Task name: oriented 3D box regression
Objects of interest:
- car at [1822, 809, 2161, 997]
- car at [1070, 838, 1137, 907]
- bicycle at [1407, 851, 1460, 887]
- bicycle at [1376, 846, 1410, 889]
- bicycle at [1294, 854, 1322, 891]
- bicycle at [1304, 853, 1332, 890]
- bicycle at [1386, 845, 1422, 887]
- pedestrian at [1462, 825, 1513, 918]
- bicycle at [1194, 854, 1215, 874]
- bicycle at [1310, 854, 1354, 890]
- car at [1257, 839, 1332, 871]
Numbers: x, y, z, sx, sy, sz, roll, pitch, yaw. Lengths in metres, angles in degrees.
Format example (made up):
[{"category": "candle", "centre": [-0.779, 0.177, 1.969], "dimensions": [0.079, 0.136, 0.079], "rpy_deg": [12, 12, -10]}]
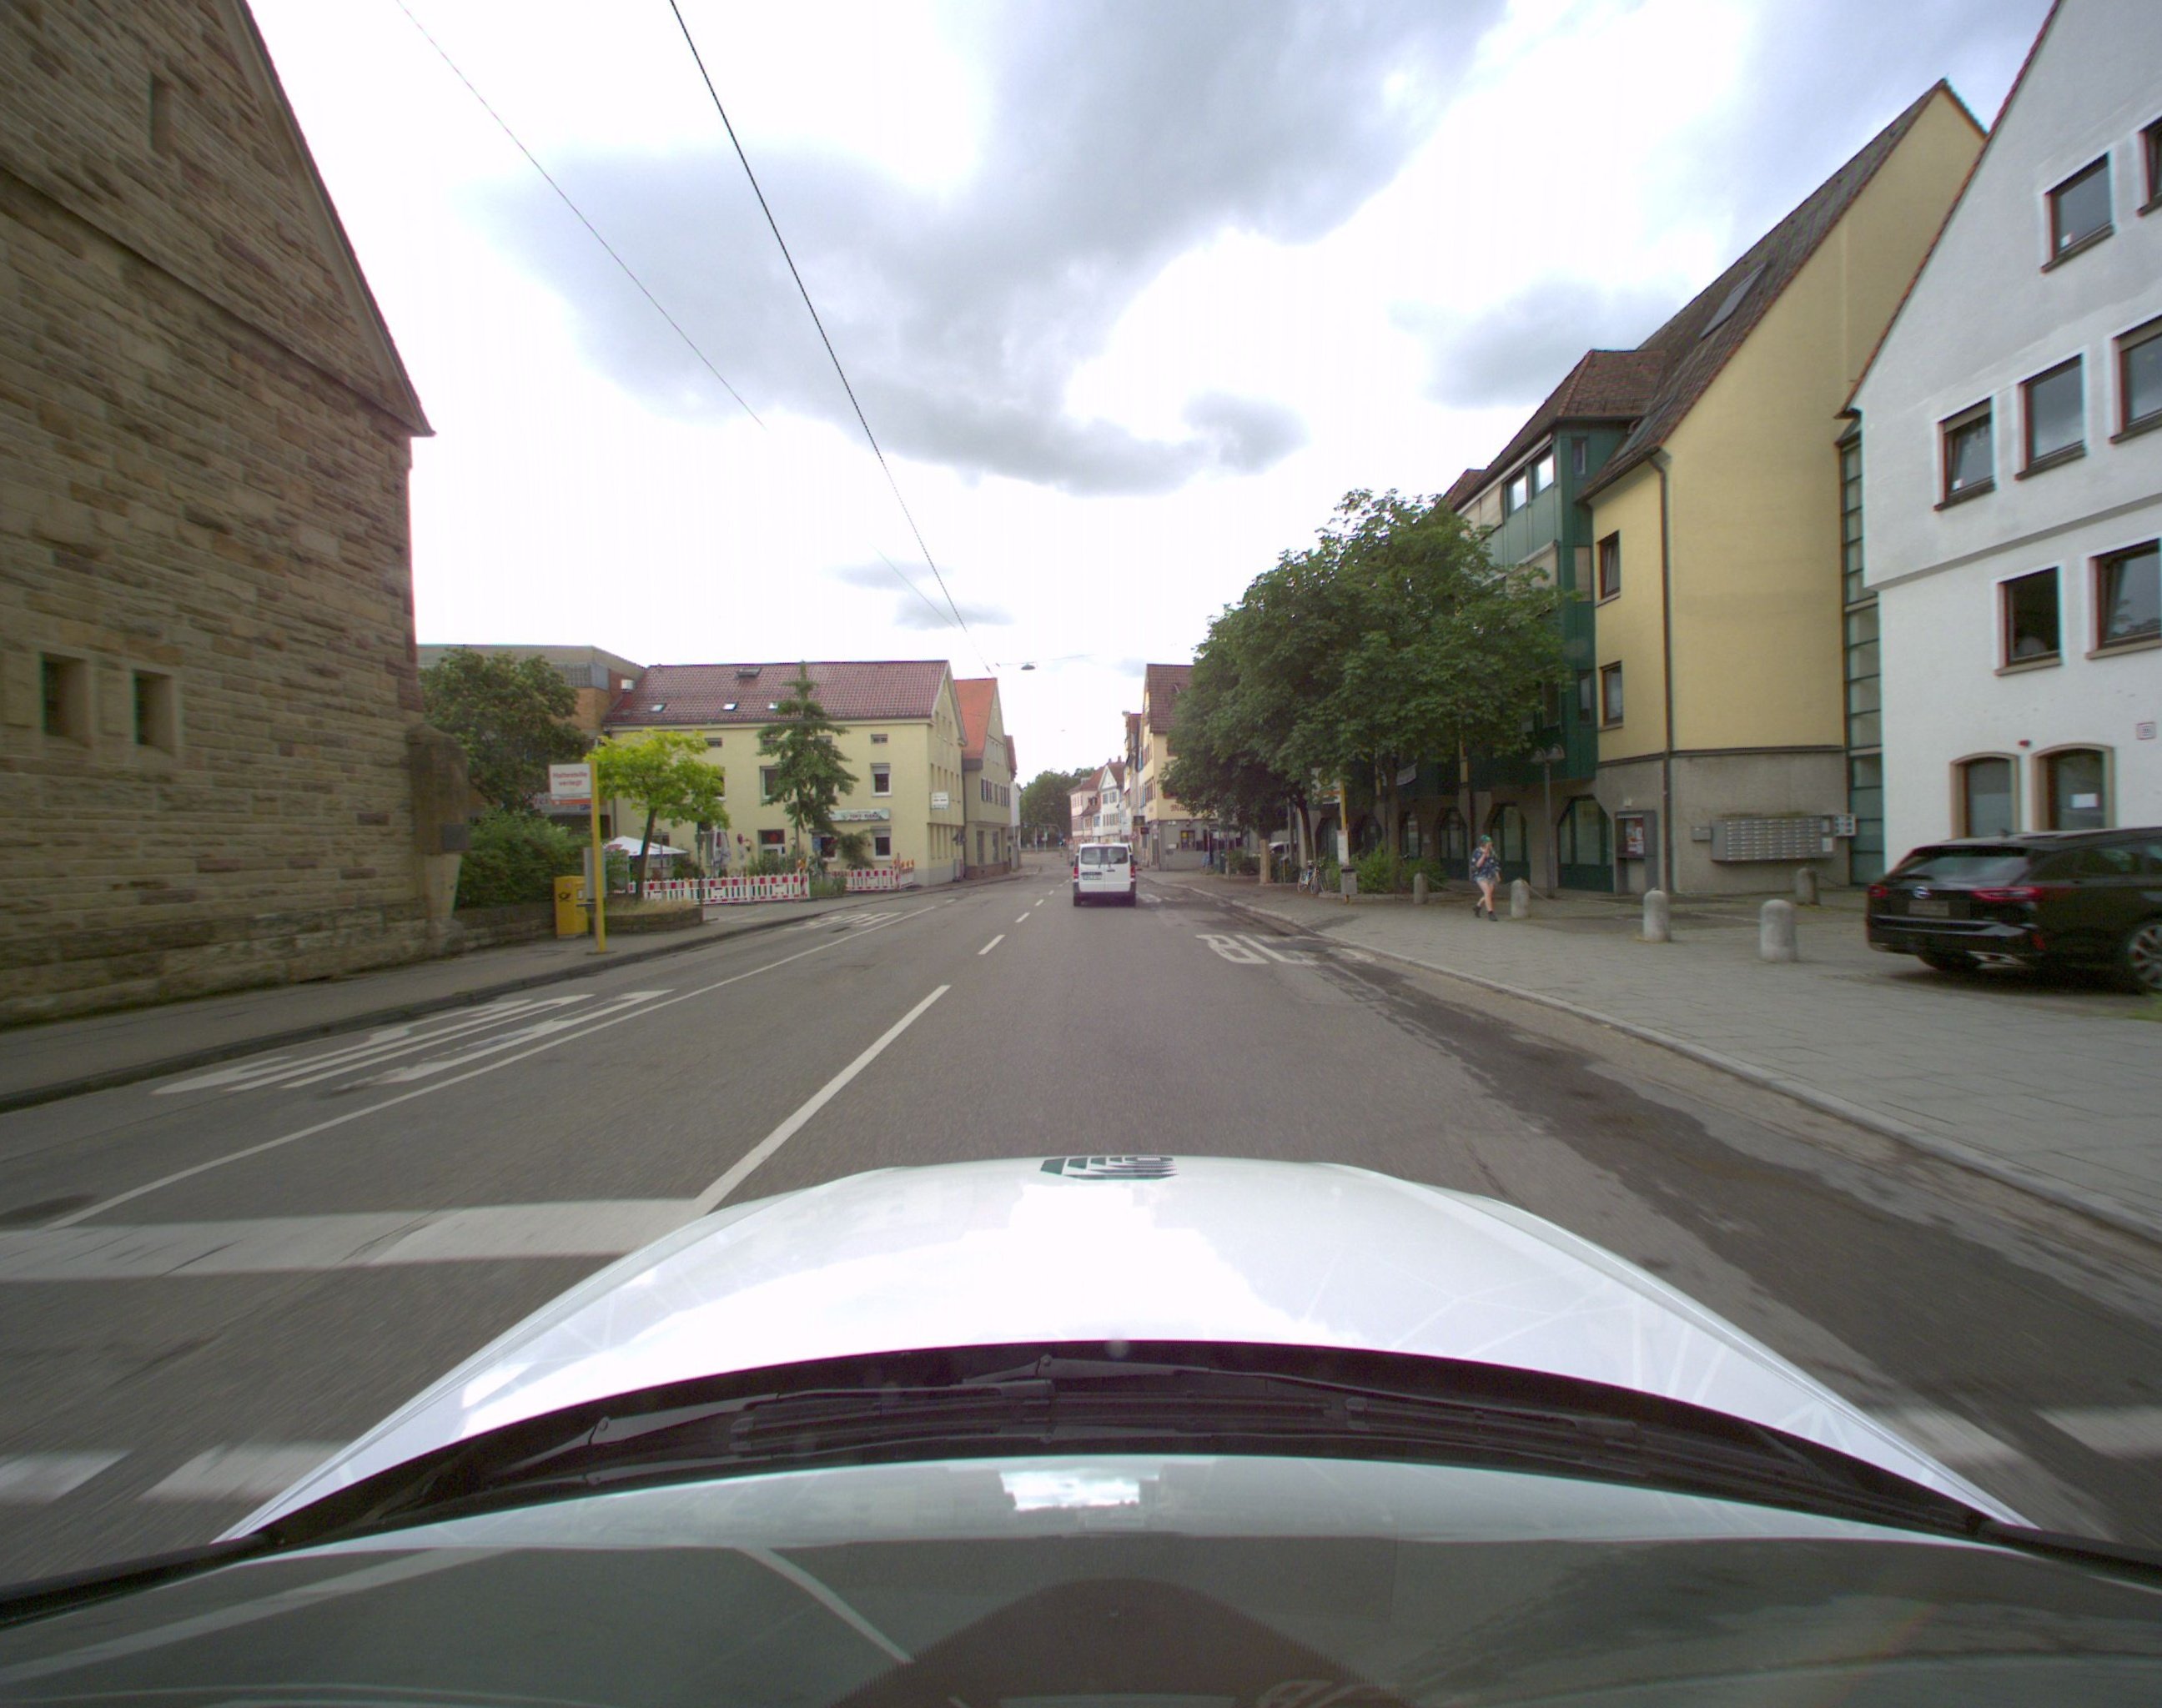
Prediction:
[{"category": "car", "centre": [10.384, 0.361, 7.991], "dimensions": [4.496, 1.574, 1.852], "rpy_deg": [-2, -1, 0]}, {"category": "car", "centre": [0.712, 0.533, 25.360], "dimensions": [1.865, 1.912, 4.002], "rpy_deg": [-2, 0, 2]}, {"category": "bicycle", "centre": [11.172, 0.457, 25.877], "dimensions": [0.543, 1.069, 2.288], "rpy_deg": [-2, 0, -4]}, {"category": "bicycle", "centre": [9.862, 0.398, 25.798], "dimensions": [0.332, 1.300, 1.958], "rpy_deg": [-1, 0, 0]}, {"category": "bicycle", "centre": [7.238, 0.576, 25.979], "dimensions": [0.332, 1.141, 1.958], "rpy_deg": [-1, 0, 0]}, {"category": "bicycle", "centre": [7.576, 0.548, 26.085], "dimensions": [0.332, 1.141, 1.958], "rpy_deg": [-1, 0, 0]}, {"category": "bicycle", "centre": [10.278, 0.372, 25.976], "dimensions": [0.332, 1.300, 1.958], "rpy_deg": [-1, 0, 0]}, {"category": "pedestrian", "centre": [7.783, 0.327, 15.622], "dimensions": [0.599, 1.715, 0.862], "rpy_deg": [-2, 0, 8]}, {"category": "bicycle", "centre": [7.061, 0.544, 46.630], "dimensions": [0.501, 1.106, 1.627], "rpy_deg": [-2, 0, -19]}, {"category": "bicycle", "centre": [8.138, 0.556, 26.477], "dimensions": [0.543, 1.069, 2.288], "rpy_deg": [-2, 0, -4]}, {"category": "car", "centre": [13.645, 0.025, 52.095], "dimensions": [4.239, 1.797, 1.843], "rpy_deg": [-2, 2, -8]}]
